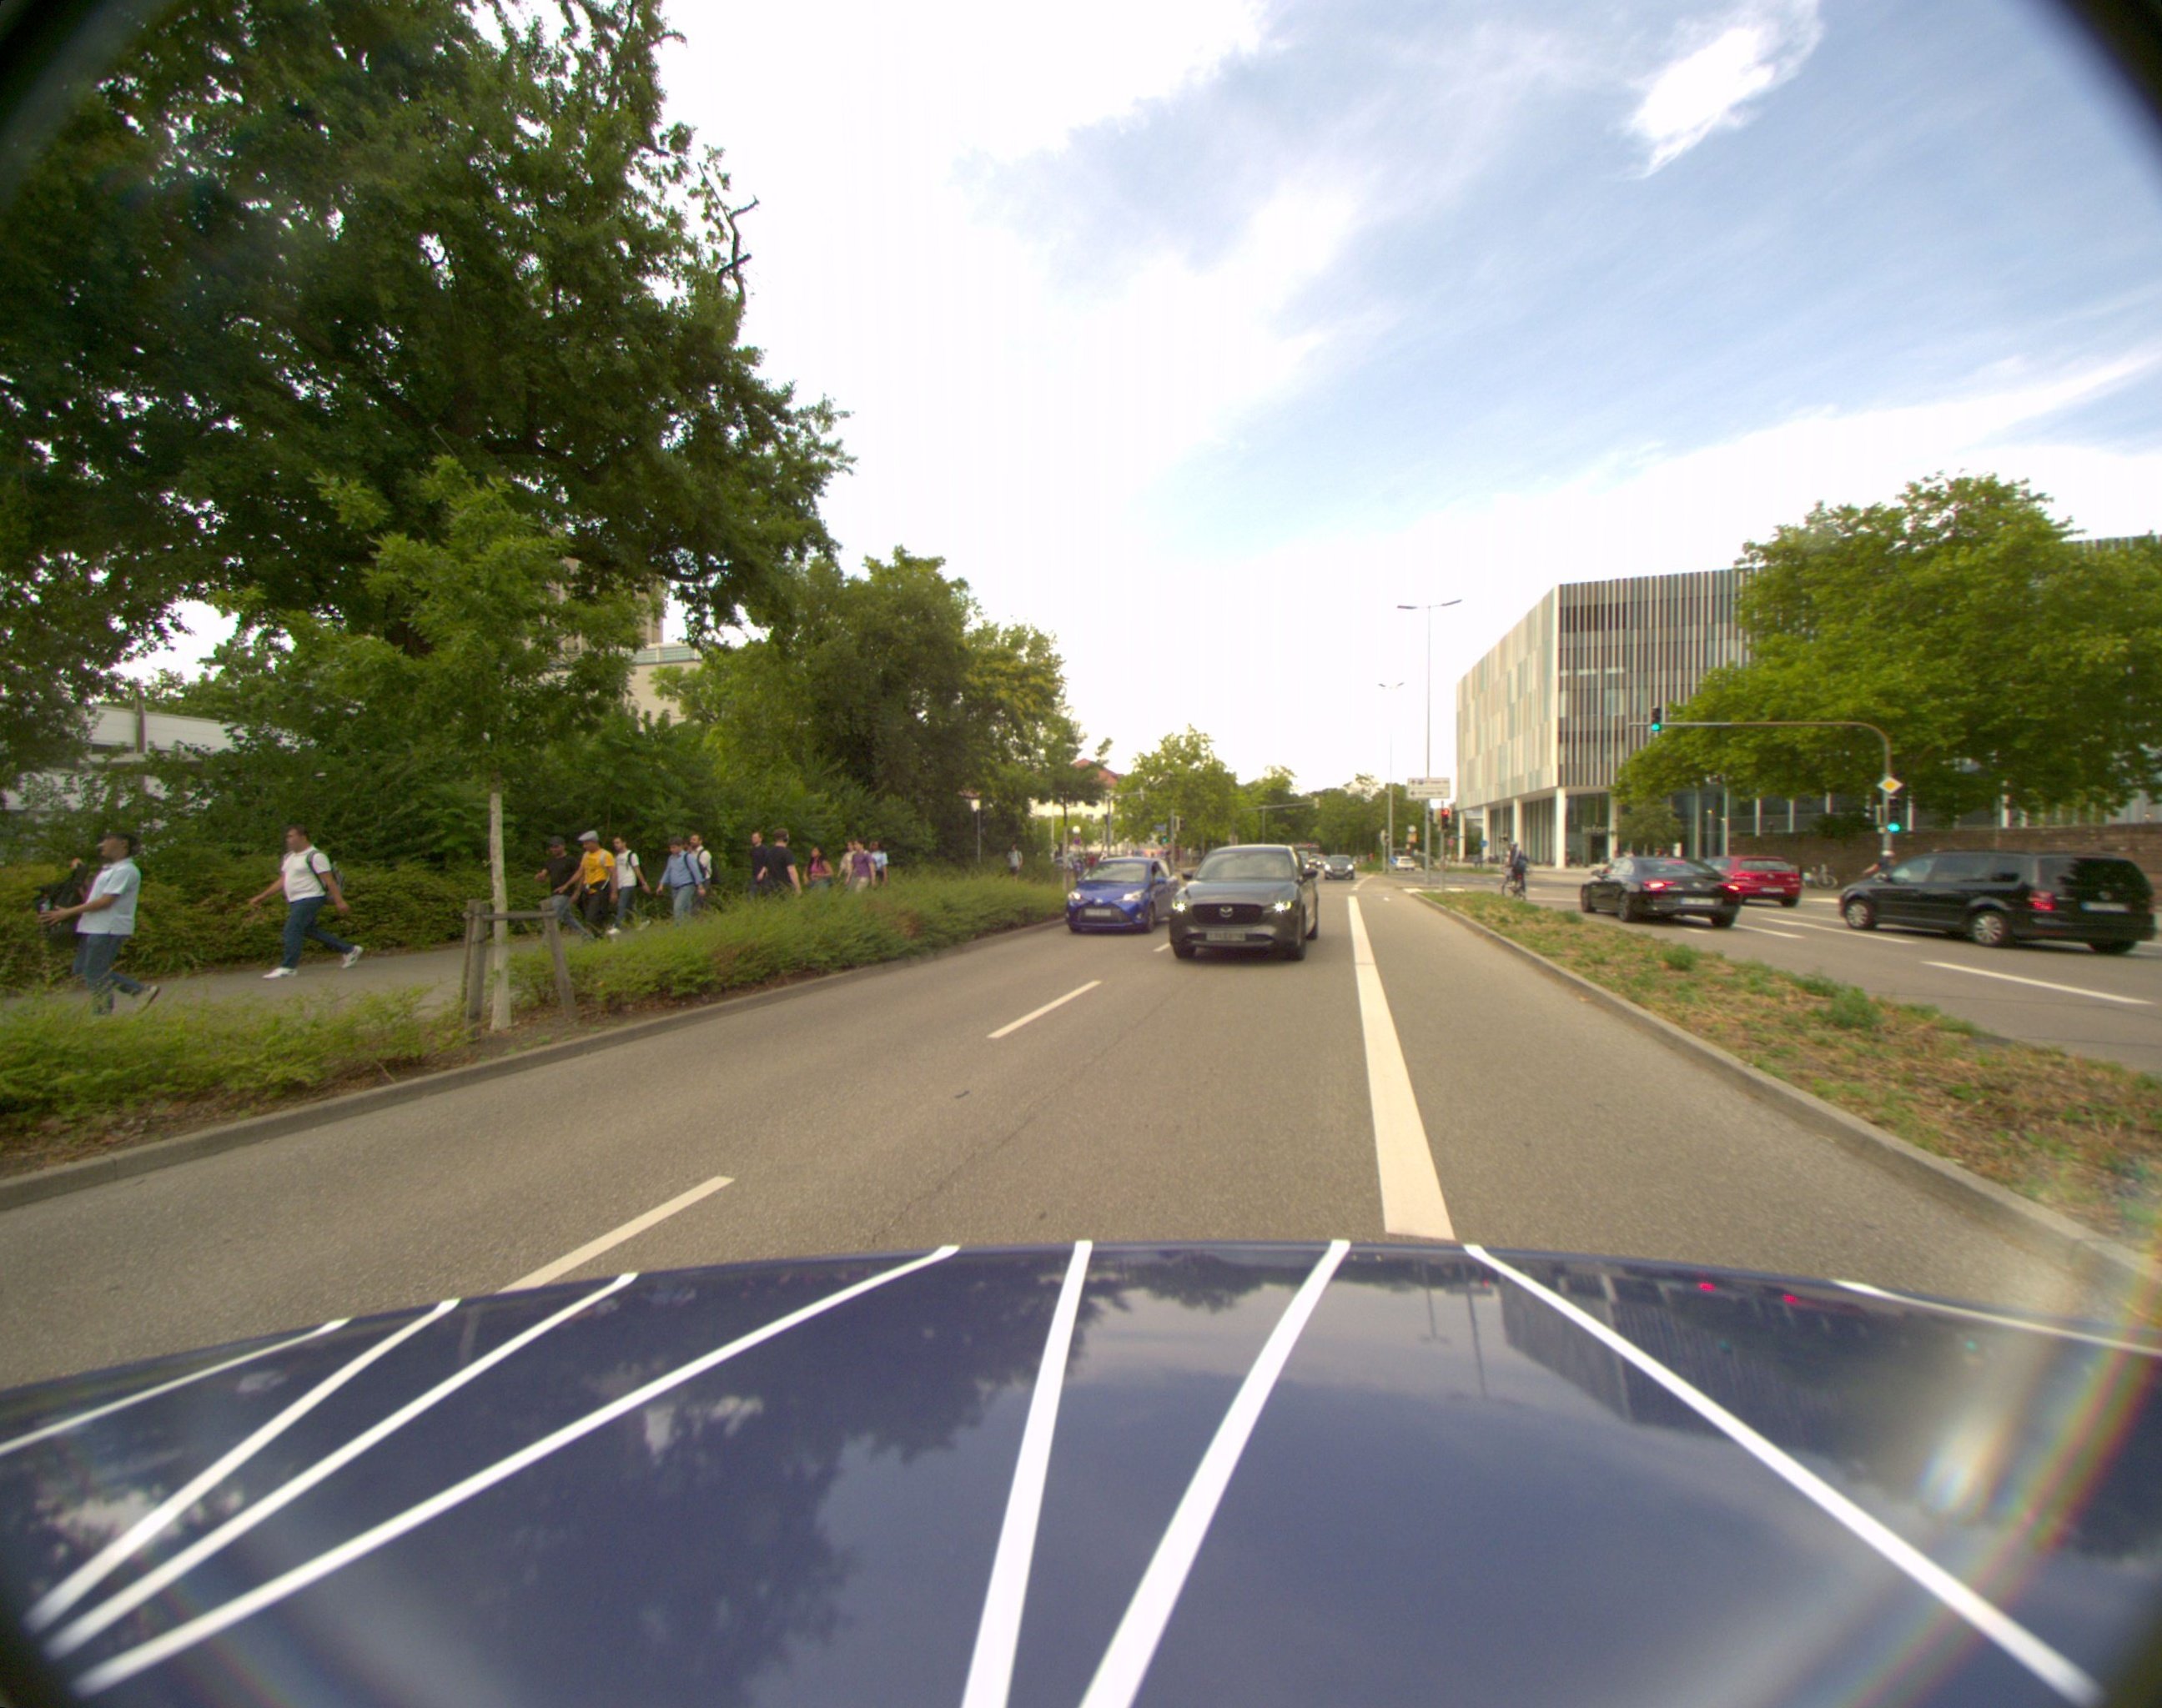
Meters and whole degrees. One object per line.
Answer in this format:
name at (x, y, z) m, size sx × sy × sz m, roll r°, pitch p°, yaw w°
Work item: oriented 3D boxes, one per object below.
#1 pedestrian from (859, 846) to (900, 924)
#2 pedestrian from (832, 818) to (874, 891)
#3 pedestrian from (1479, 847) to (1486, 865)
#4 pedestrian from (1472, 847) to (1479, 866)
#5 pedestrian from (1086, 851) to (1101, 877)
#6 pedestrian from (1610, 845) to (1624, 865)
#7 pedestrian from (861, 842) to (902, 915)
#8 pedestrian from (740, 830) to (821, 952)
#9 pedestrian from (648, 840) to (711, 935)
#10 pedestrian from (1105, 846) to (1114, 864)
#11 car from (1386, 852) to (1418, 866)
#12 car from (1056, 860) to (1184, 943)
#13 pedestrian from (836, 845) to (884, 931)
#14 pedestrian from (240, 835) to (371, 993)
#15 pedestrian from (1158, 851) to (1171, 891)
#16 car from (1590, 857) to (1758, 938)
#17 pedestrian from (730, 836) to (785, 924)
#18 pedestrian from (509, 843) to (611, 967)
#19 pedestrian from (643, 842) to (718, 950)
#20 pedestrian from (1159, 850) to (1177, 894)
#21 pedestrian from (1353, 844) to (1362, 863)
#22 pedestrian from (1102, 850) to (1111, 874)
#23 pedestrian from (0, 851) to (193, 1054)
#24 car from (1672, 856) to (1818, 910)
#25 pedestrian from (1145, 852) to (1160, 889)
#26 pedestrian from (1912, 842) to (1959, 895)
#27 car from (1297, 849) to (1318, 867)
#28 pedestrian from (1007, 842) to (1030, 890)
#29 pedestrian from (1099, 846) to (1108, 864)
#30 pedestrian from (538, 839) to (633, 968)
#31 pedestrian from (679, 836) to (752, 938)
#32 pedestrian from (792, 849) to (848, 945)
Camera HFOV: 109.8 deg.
pedestrian at (-4.569, 0.677, 17.253) m, size 0.582 × 1.735 × 0.790 m, roll 0°, pitch 1°, yaw 17°
pedestrian at (-5.574, 0.003, 18.599) m, size 0.657 × 1.735 × 0.781 m, roll 0°, pitch 1°, yaw 17°
pedestrian at (38.937, 0.199, 73.696) m, size 0.511 × 1.826 × 0.625 m, roll 0°, pitch 0°, yaw 15°
pedestrian at (38.317, 0.274, 73.824) m, size 0.511 × 1.826 × 0.773 m, roll 0°, pitch 0°, yaw 15°
pedestrian at (0.870, 0.687, 52.981) m, size 0.768 × 1.794 × 0.893 m, roll -1°, pitch 0°, yaw 21°
pedestrian at (46.733, 0.064, 66.241) m, size 0.731 × 1.730 × 0.677 m, roll -1°, pitch 1°, yaw -18°
pedestrian at (-4.848, 0.572, 18.484) m, size 0.657 × 1.735 × 0.781 m, roll 0°, pitch 1°, yaw 17°
pedestrian at (-4.753, 0.554, 12.013) m, size 0.889 × 1.820 × 0.934 m, roll -1°, pitch 1°, yaw -44°
pedestrian at (-7.377, 0.600, 13.972) m, size 0.657 × 1.689 × 0.781 m, roll 0°, pitch 1°, yaw 17°
pedestrian at (3.114, 0.065, 82.796) m, size 0.687 × 1.951 × 0.601 m, roll -2°, pitch 1°, yaw -24°
car at (33.948, 0.507, 80.512) m, size 1.805 × 1.480 × 4.417 m, roll 0°, pitch 0°, yaw 4°
car at (0.962, 0.903, 16.127) m, size 1.700 × 1.485 × 3.837 m, roll 0°, pitch 0°, yaw 19°
pedestrian at (-4.576, 0.684, 15.734) m, size 0.625 × 1.735 × 0.781 m, roll 0°, pitch 1°, yaw 17°
pedestrian at (-8.969, 0.654, 8.812) m, size 0.722 × 1.734 × 0.813 m, roll 0°, pitch 1°, yaw 19°
pedestrian at (3.641, 0.714, 32.995) m, size 0.454 × 1.725 × 0.638 m, roll 0°, pitch 1°, yaw 17°
car at (12.611, 0.817, 16.485) m, size 1.803 × 1.480 × 4.413 m, roll 0°, pitch 0°, yaw 23°
pedestrian at (-6.544, 0.513, 15.404) m, size 0.657 × 1.735 × 0.781 m, roll 0°, pitch 1°, yaw 17°
pedestrian at (-7.306, 0.674, 10.690) m, size 0.657 × 1.657 × 0.972 m, roll 0°, pitch 1°, yaw 17°
pedestrian at (-6.300, 0.640, 11.982) m, size 0.657 × 1.638 × 0.813 m, roll 0°, pitch 1°, yaw 17°
pedestrian at (3.467, 0.695, 30.310) m, size 0.602 × 1.725 × 0.655 m, roll 0°, pitch 1°, yaw 17°
pedestrian at (27.561, -0.023, 75.721) m, size 0.726 × 1.843 × 1.066 m, roll 0°, pitch 1°, yaw 14°
pedestrian at (1.978, 0.638, 59.470) m, size 0.646 × 1.841 × 0.829 m, roll -1°, pitch 1°, yaw 5°
pedestrian at (-8.356, 0.771, 6.449) m, size 0.776 × 1.593 × 0.813 m, roll 0°, pitch 1°, yaw 19°
car at (20.234, 0.810, 23.423) m, size 1.804 × 1.480 × 4.294 m, roll 0°, pitch 0°, yaw 17°
pedestrian at (3.245, 0.759, 34.586) m, size 0.546 × 1.677 × 0.638 m, roll 0°, pitch 1°, yaw 17°
pedestrian at (29.146, 0.489, 25.918) m, size 0.747 × 1.772 × 0.782 m, roll -1°, pitch 2°, yaw -16°
car at (22.603, 0.364, 75.755) m, size 1.996 × 1.761 × 4.005 m, roll 0°, pitch 0°, yaw 17°
pedestrian at (-2.360, 0.433, 28.684) m, size 0.645 × 1.785 × 0.741 m, roll 0°, pitch 1°, yaw 17°
pedestrian at (2.413, 0.090, 82.467) m, size 0.687 × 1.951 × 0.601 m, roll -2°, pitch 1°, yaw -24°
pedestrian at (-6.741, 0.641, 10.362) m, size 0.657 × 1.679 × 0.843 m, roll 0°, pitch 1°, yaw 17°
pedestrian at (-6.568, 0.581, 13.687) m, size 0.657 × 1.756 × 0.959 m, roll -2°, pitch 0°, yaw 17°
pedestrian at (-4.883, 0.781, 14.238) m, size 0.657 × 1.735 × 0.781 m, roll 0°, pitch 1°, yaw 17°
